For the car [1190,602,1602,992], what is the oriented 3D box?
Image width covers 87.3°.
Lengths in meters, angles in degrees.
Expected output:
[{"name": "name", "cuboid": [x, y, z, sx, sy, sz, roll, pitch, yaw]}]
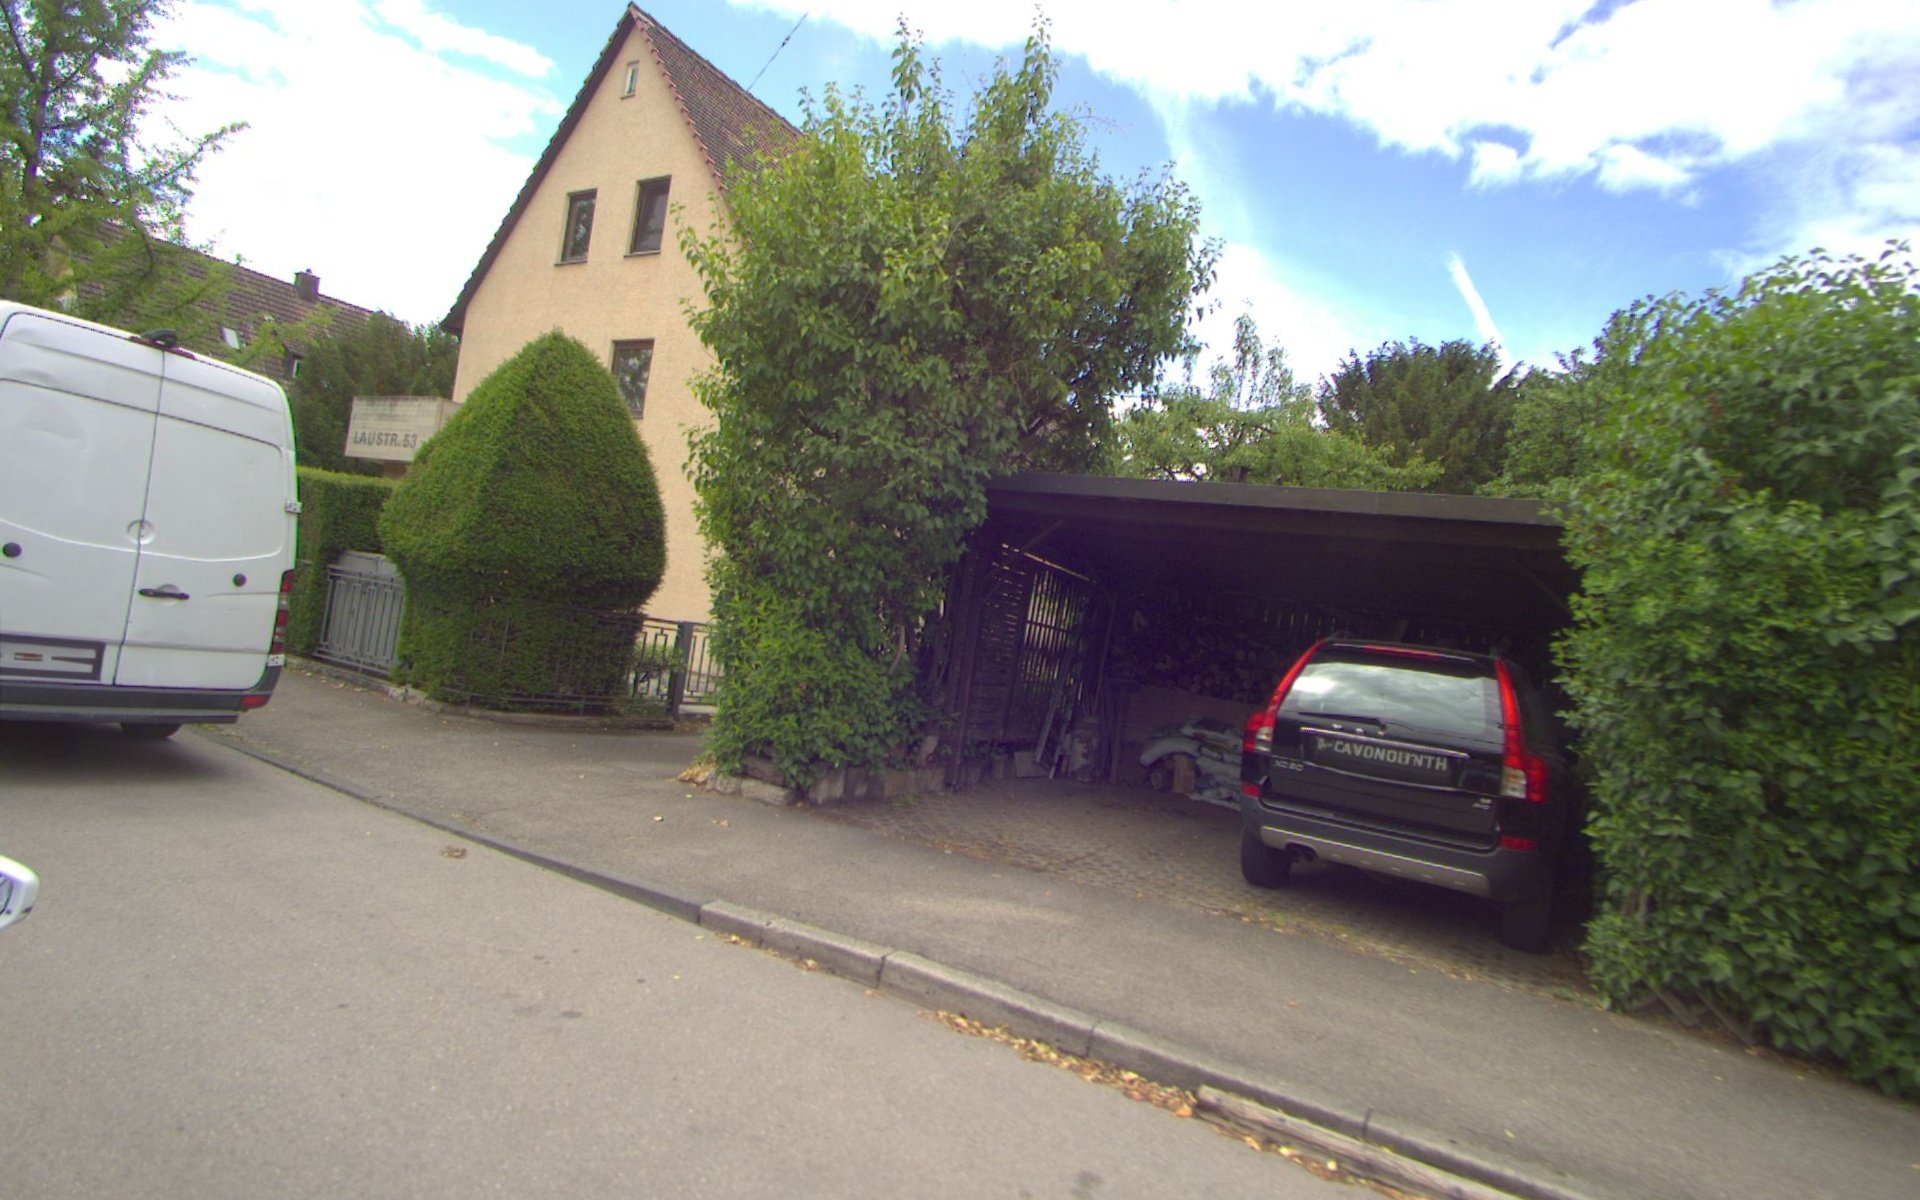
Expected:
[{"name": "car", "cuboid": [3.430, 1.231, 7.466, 1.899, 1.771, 4.488, 7, -2, 31]}]

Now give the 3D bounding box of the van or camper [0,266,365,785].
[{"name": "van or camper", "cuboid": [-7.641, -0.640, 7.473, 6.918, 2.648, 2.048, 7, -3, 29]}]
